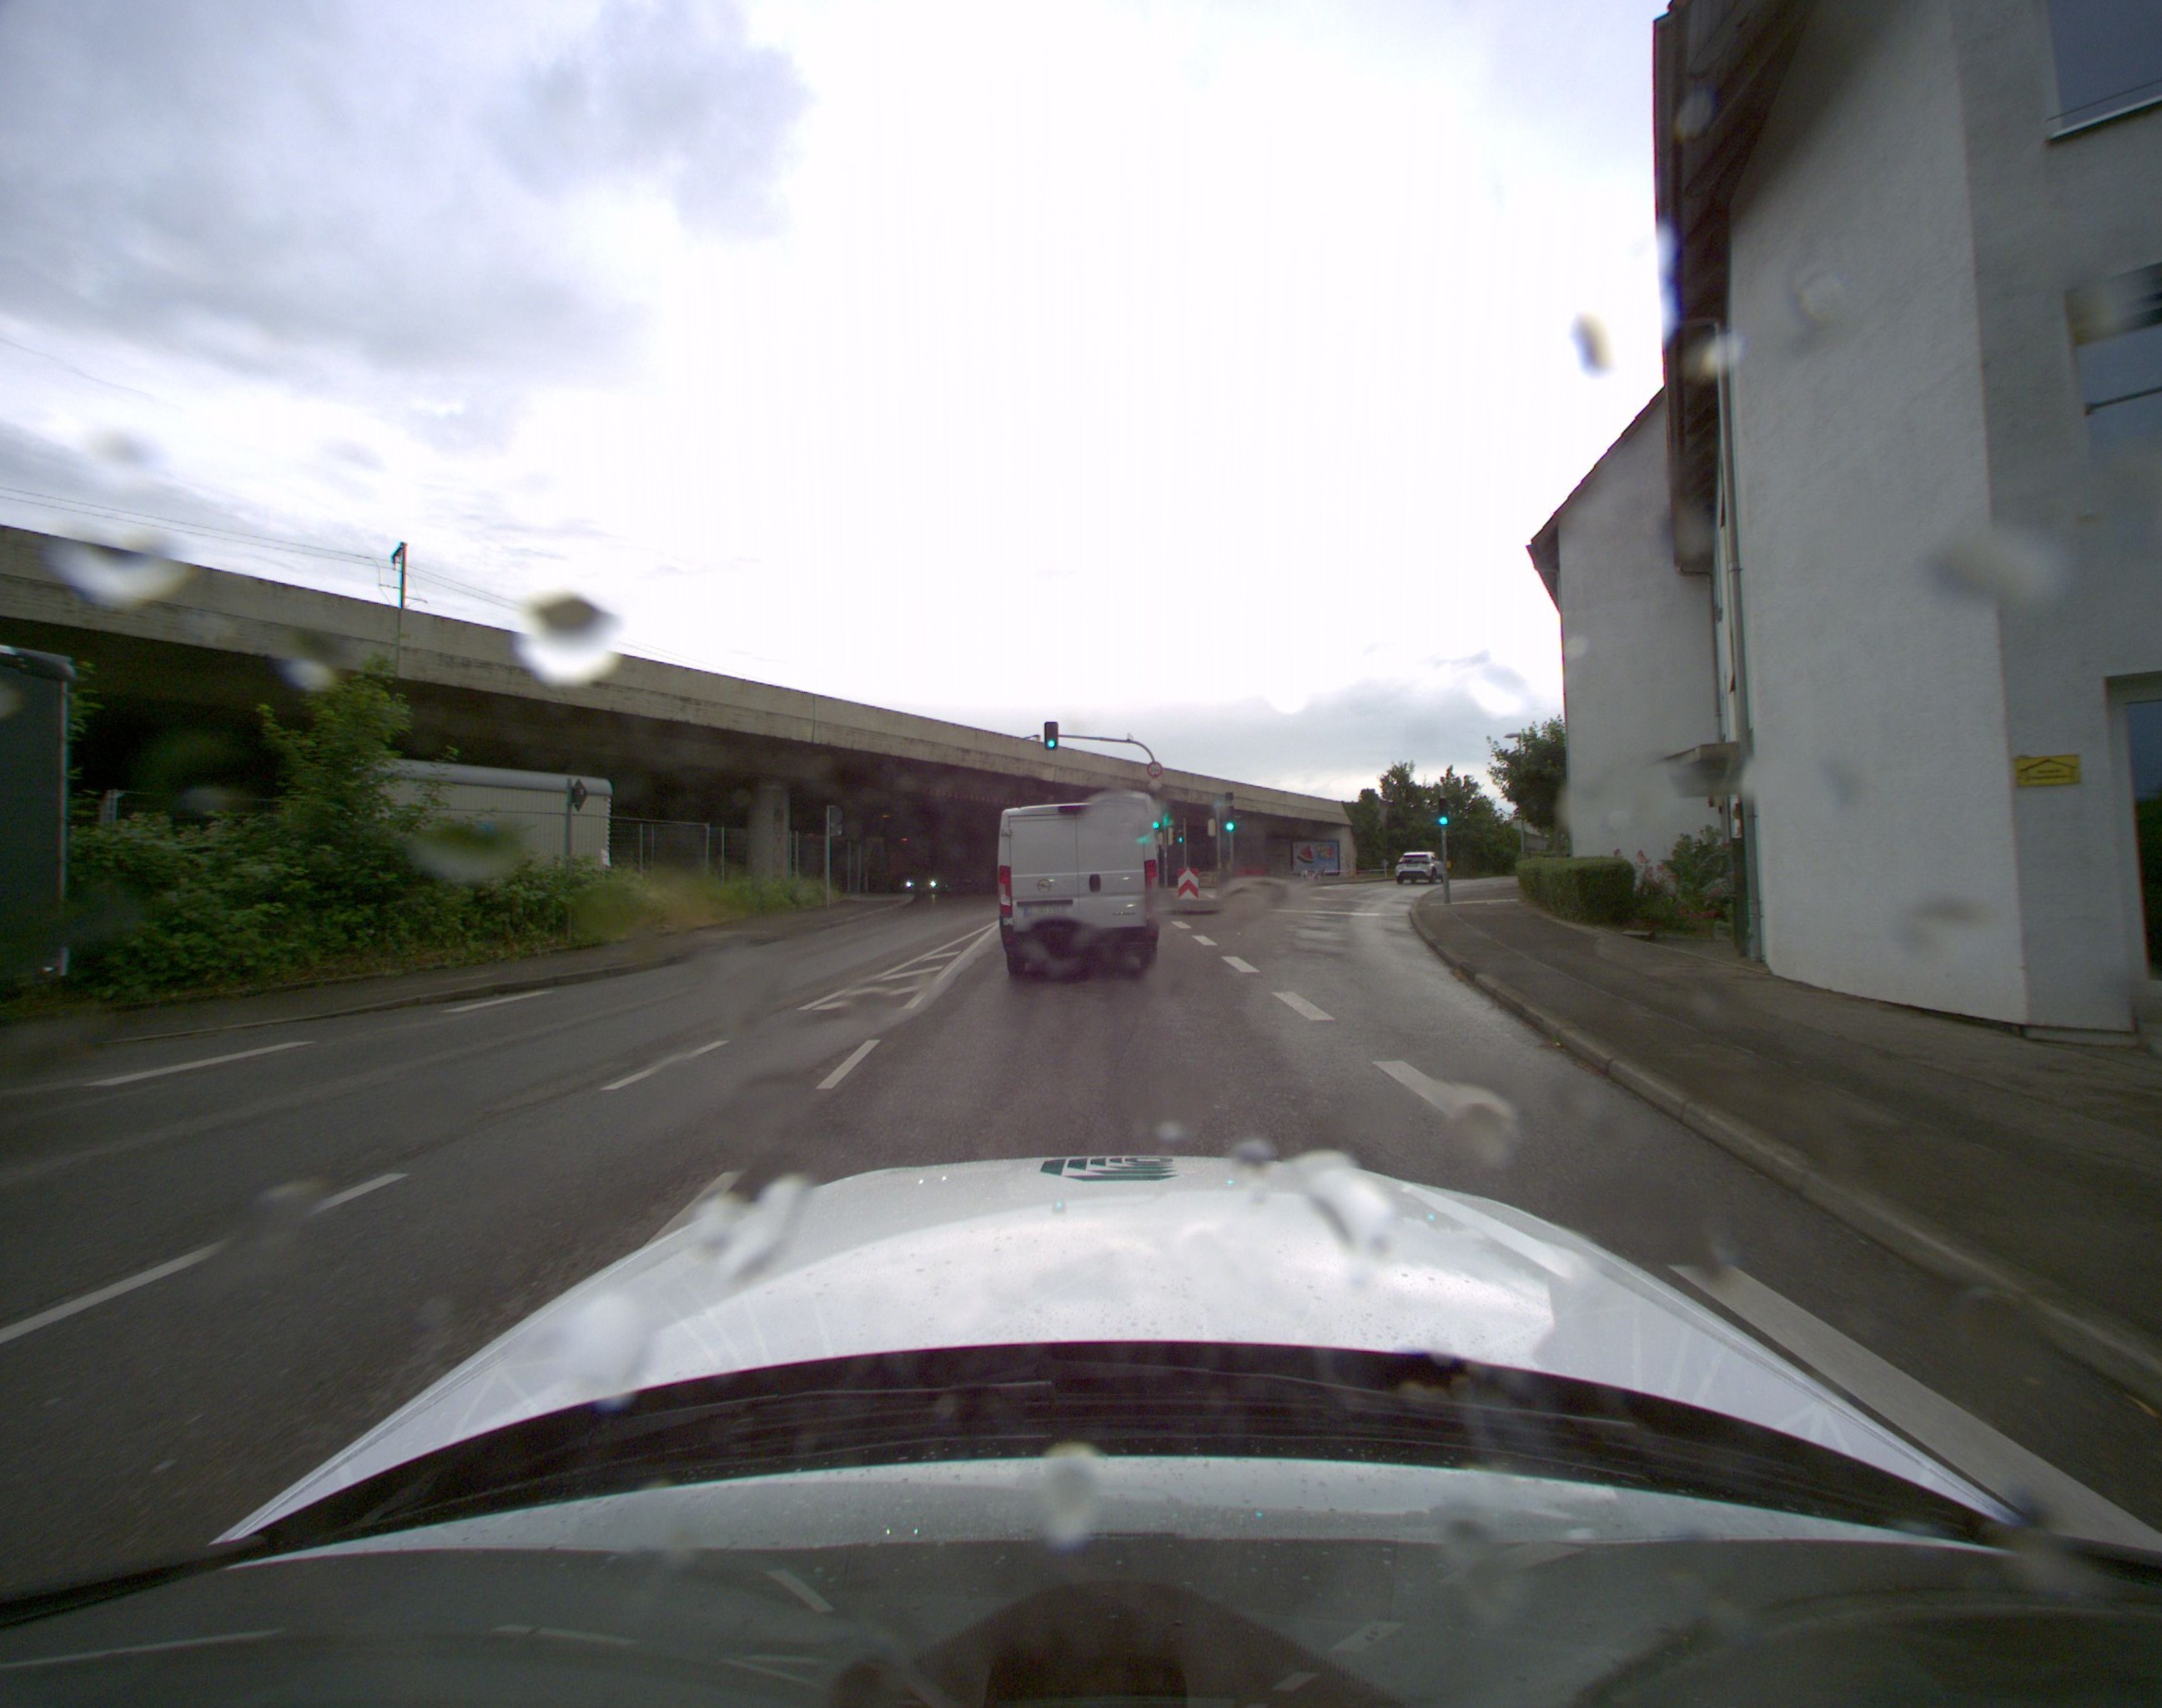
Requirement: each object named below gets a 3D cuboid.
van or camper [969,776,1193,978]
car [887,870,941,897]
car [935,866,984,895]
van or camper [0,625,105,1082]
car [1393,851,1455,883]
[{"bbox_3d":[0.012,0.291,12.329,2.690,2.417,4.902,-1,-1,0],"label":"van or camper"},{"bbox_3d":[-10.327,1.767,50.108,2.006,1.530,4.457,0,0,-30],"label":"car"},{"bbox_3d":[-7.939,1.670,52.857,2.004,1.750,3.965,-1,-1,-27],"label":"car"},{"bbox_3d":[-9.369,-0.017,2.704,2.687,3.335,7.766,-1,-1,2],"label":"van or camper"},{"bbox_3d":[17.073,0.615,40.458,1.857,1.530,4.025,-1,-1,38],"label":"car"}]
